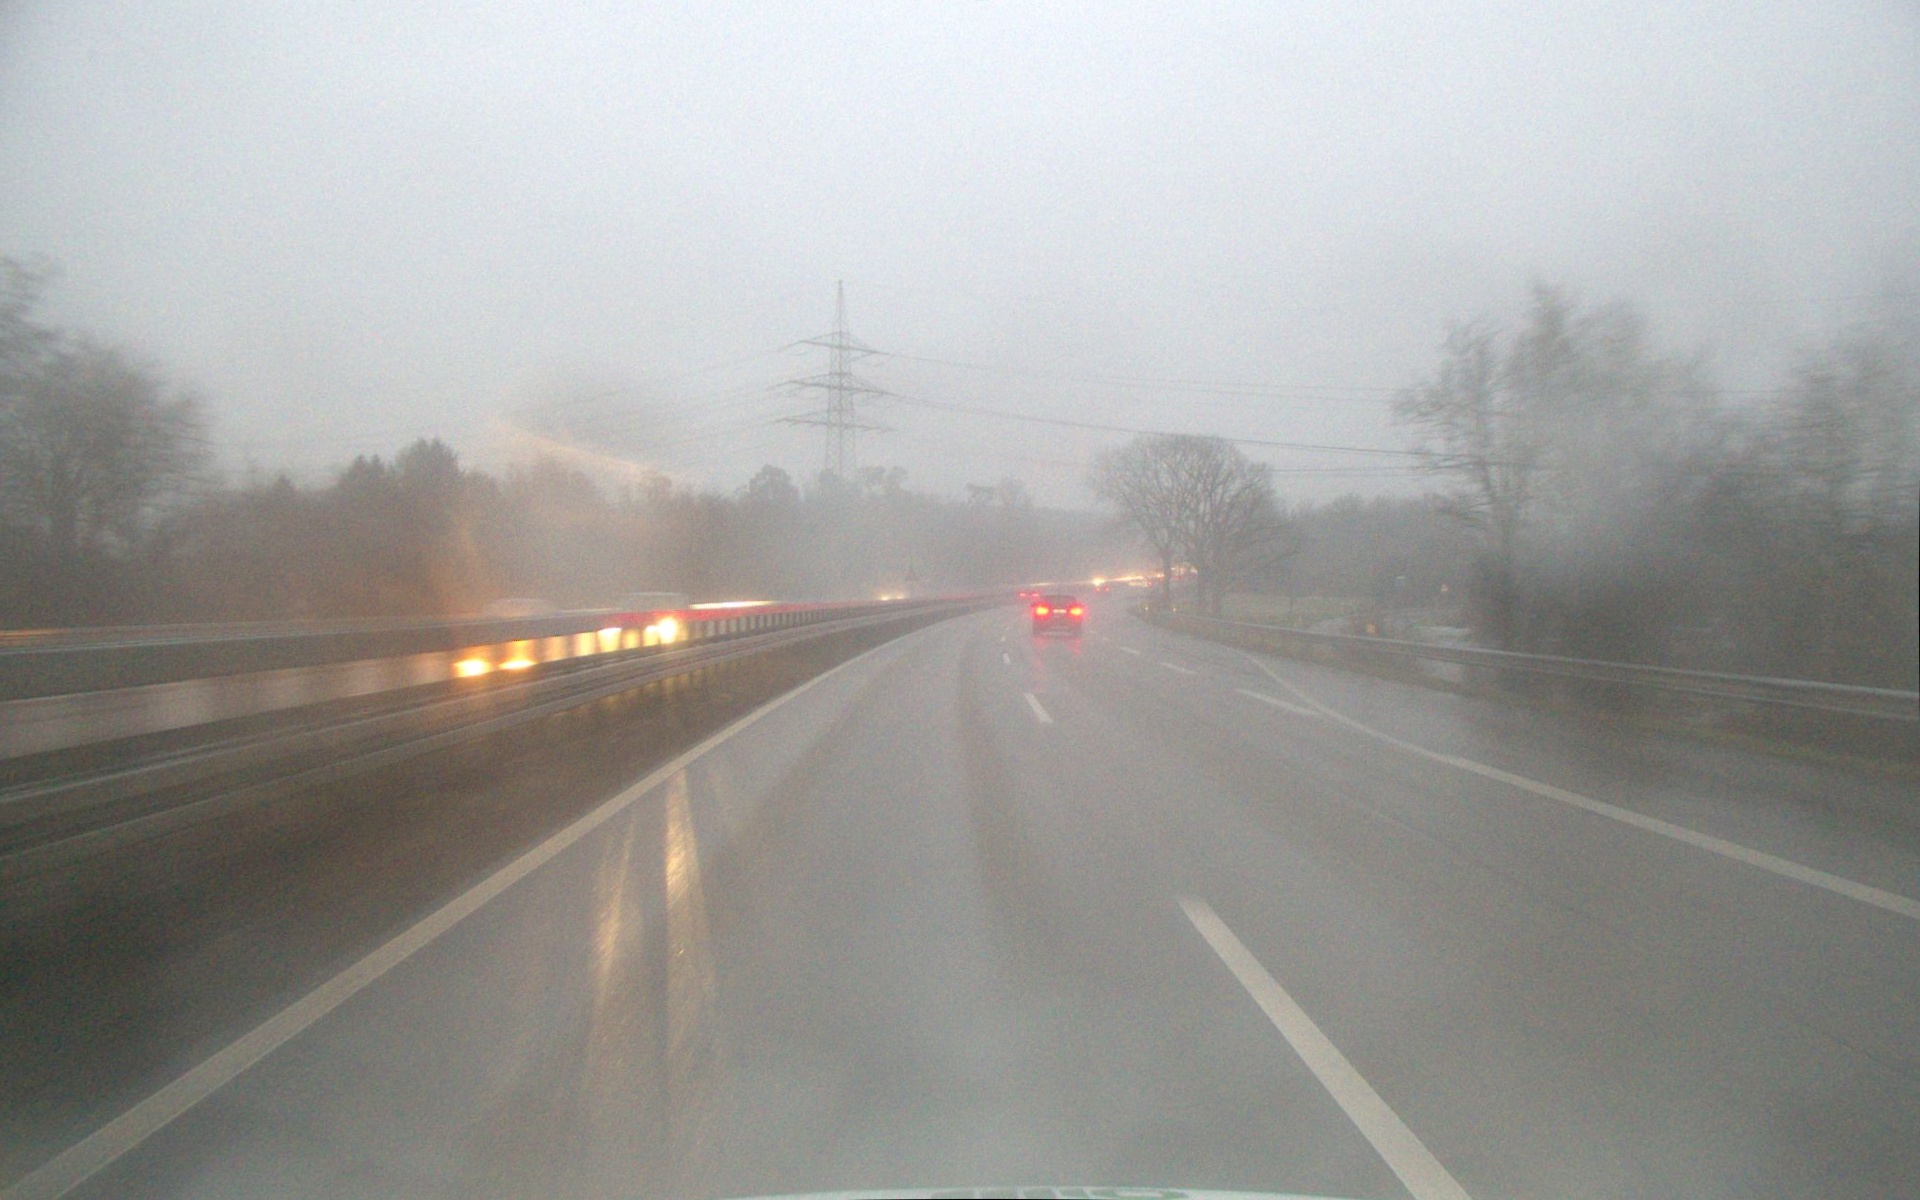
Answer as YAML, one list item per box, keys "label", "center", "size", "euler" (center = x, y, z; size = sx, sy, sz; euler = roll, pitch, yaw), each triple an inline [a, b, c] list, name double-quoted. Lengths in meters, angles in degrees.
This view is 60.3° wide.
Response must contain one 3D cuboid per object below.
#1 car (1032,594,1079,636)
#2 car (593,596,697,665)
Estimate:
- label: "car"
  center: [3.769, 0.566, 64.932]
  size: [1.642, 1.535, 3.812]
  euler: [0, 1, 6]
- label: "car"
  center: [-8.106, 0.738, 42.918]
  size: [1.840, 1.447, 4.424]
  euler: [-7, 1, -2]
